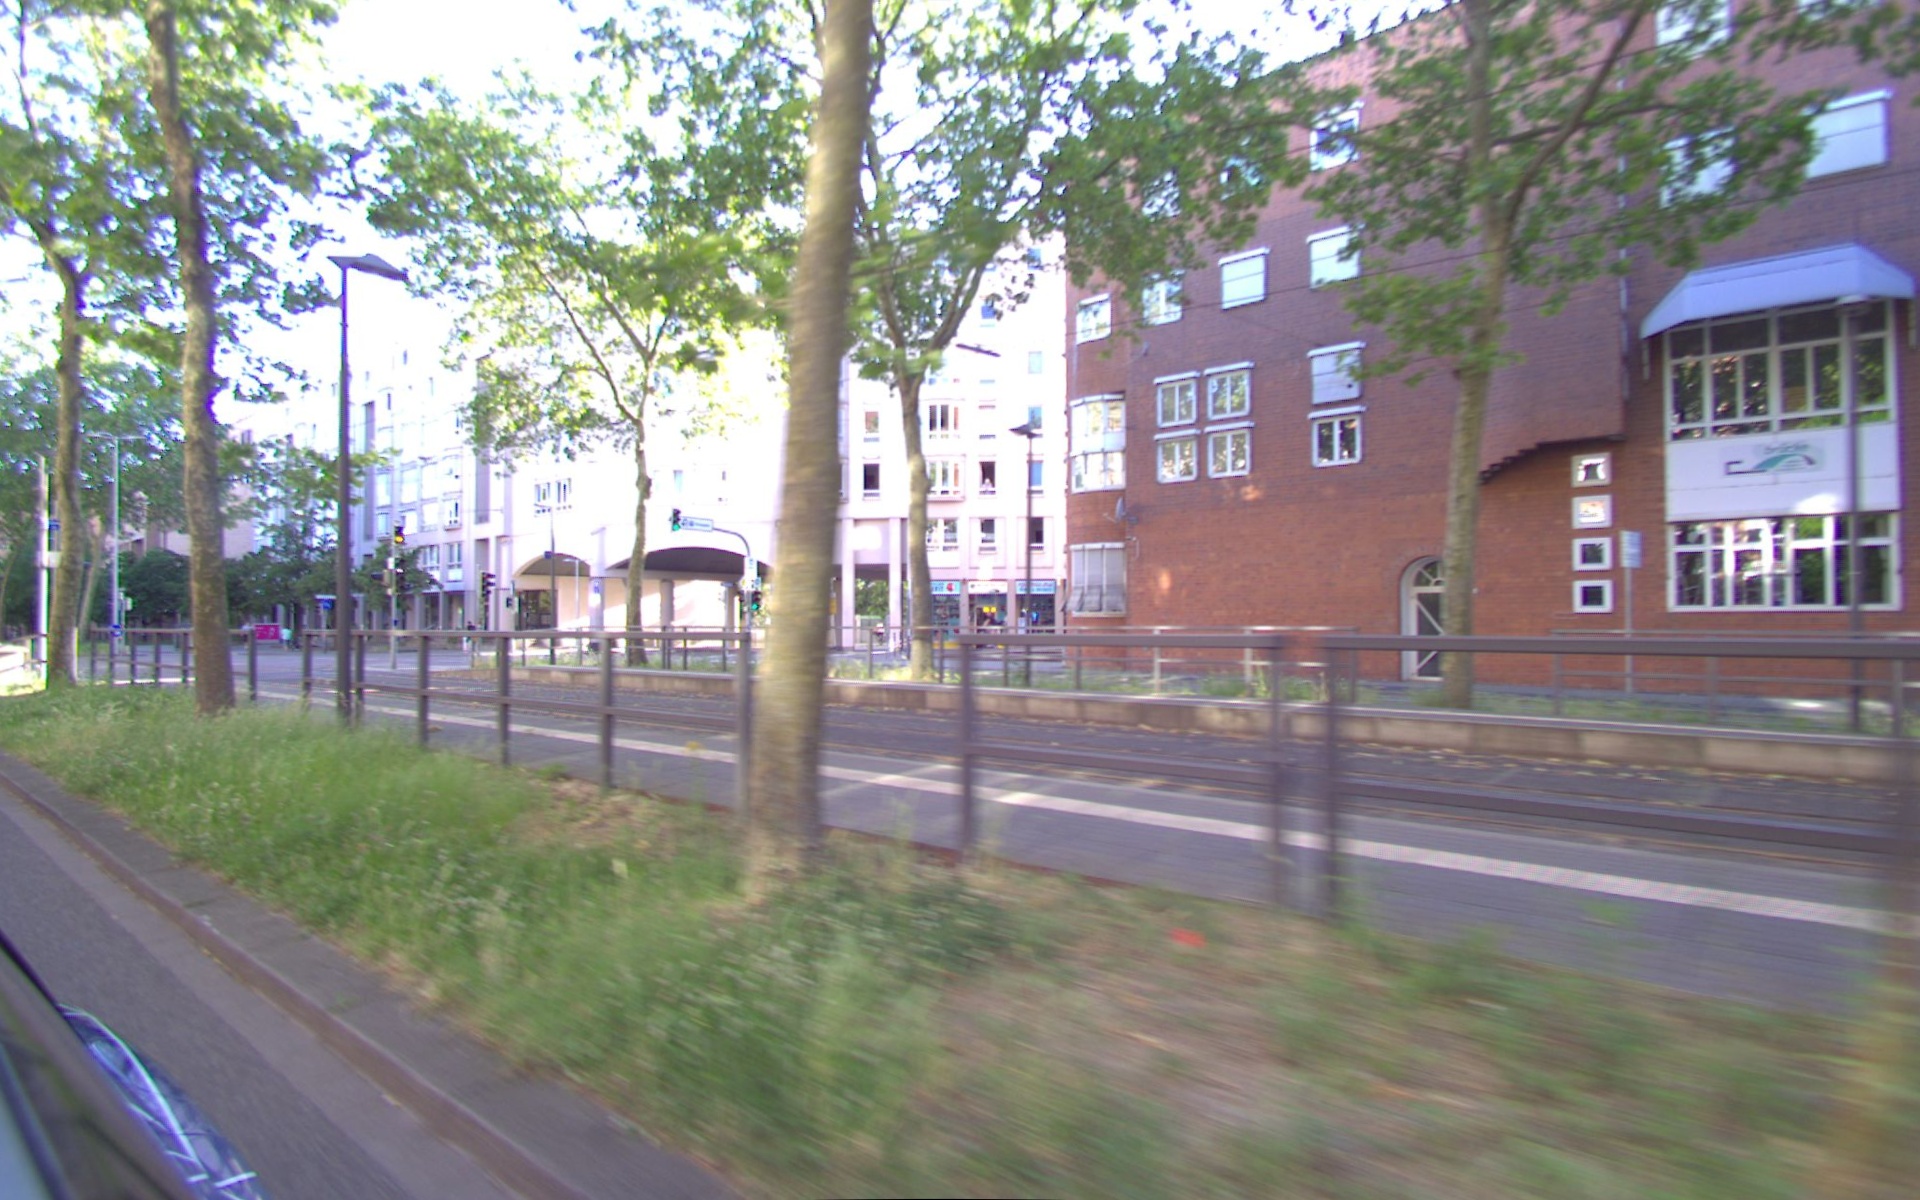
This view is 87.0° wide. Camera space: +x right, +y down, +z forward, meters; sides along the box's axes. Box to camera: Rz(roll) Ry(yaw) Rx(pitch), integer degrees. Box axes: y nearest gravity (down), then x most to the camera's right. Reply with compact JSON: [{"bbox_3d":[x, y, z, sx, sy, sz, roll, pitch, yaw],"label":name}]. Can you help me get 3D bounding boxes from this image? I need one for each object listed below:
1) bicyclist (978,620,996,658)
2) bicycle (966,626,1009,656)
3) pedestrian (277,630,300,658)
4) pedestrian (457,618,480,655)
[{"bbox_3d":[1.195,1.722,44.937,0.661,1.661,0.717,-1,0,10],"label":"bicyclist"},{"bbox_3d":[1.233,1.813,44.938,1.798,1.271,0.771,-1,0,10],"label":"bicycle"},{"bbox_3d":[-40.578,2.650,61.189,0.992,1.613,0.877,-1,0,-44],"label":"pedestrian"},{"bbox_3d":[-27.239,2.005,56.131,0.862,2.029,1.009,-1,0,-8],"label":"pedestrian"}]
